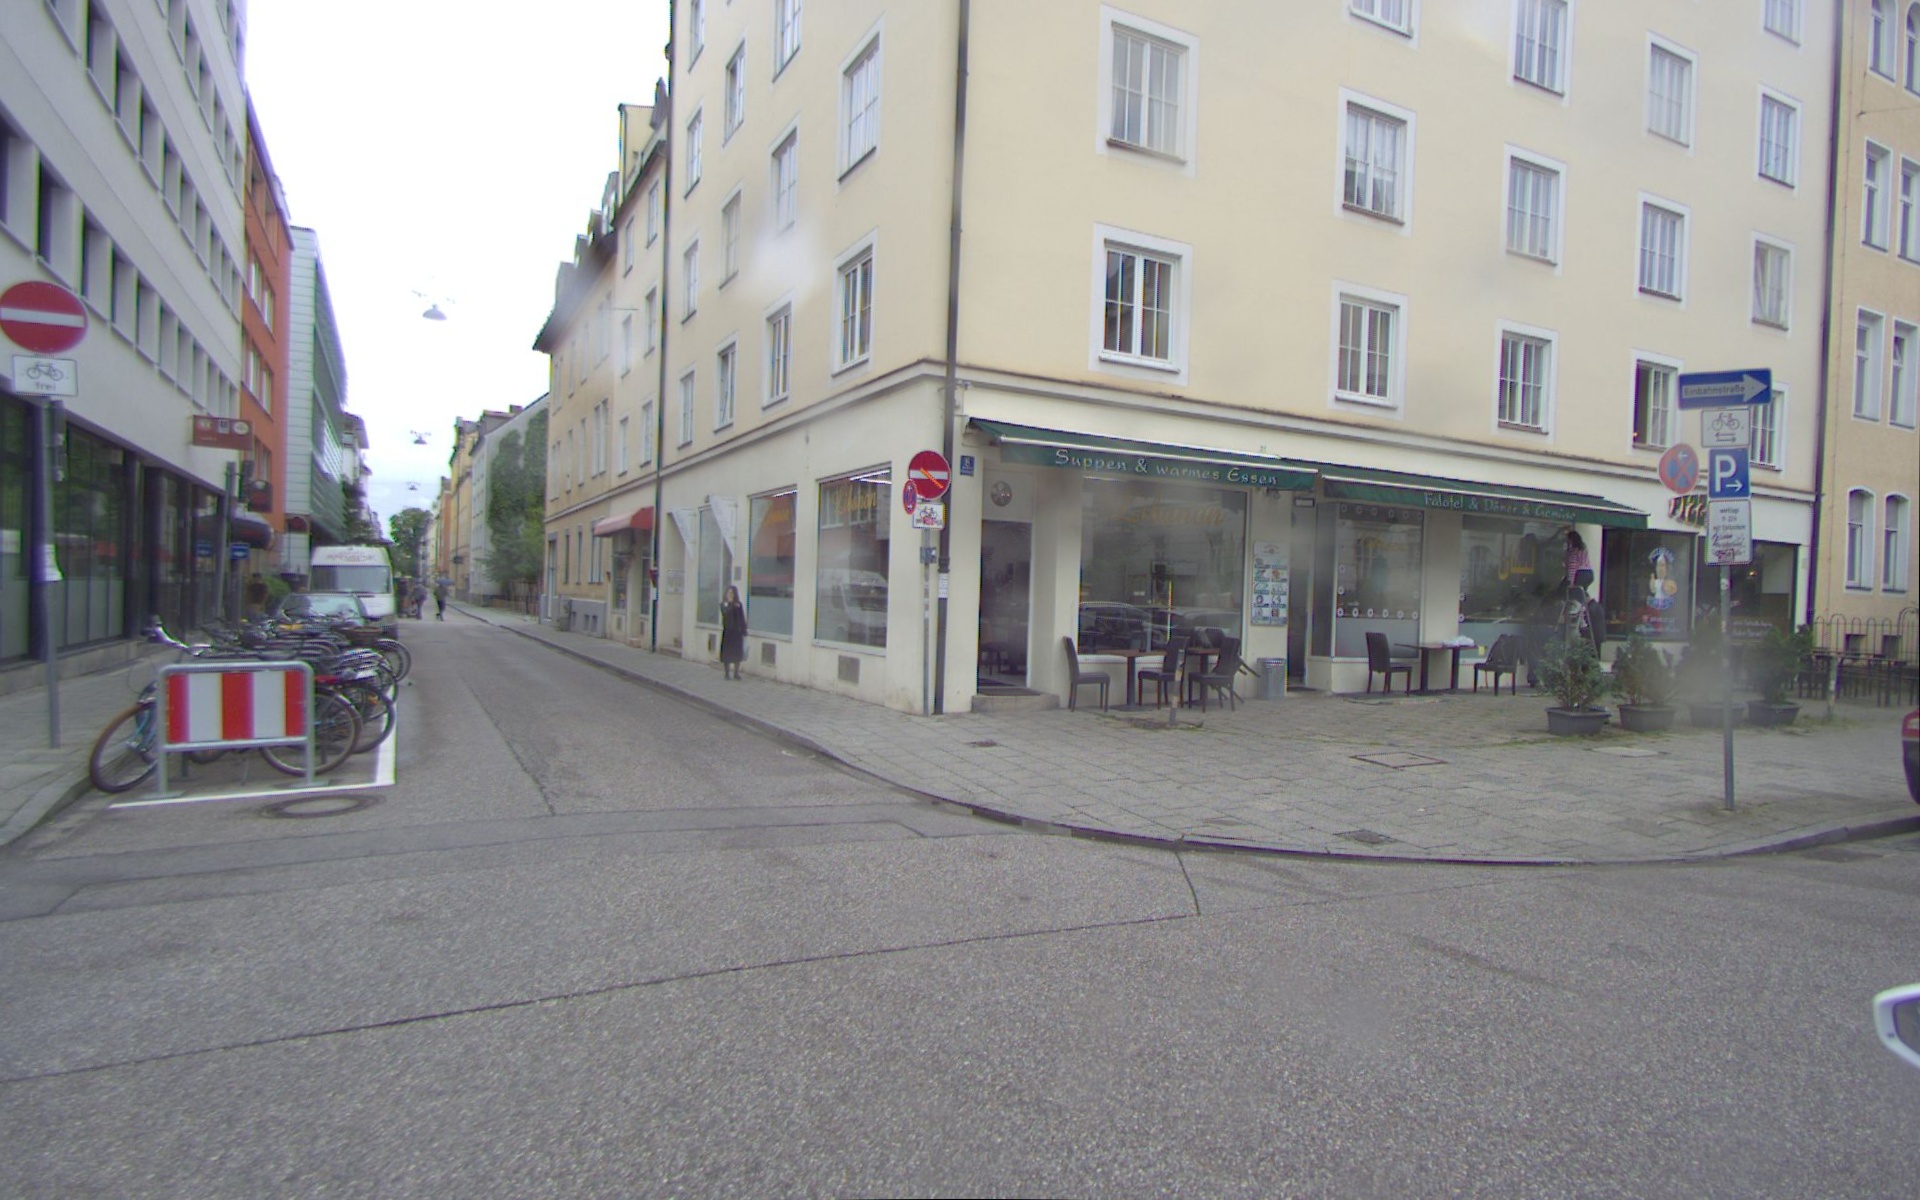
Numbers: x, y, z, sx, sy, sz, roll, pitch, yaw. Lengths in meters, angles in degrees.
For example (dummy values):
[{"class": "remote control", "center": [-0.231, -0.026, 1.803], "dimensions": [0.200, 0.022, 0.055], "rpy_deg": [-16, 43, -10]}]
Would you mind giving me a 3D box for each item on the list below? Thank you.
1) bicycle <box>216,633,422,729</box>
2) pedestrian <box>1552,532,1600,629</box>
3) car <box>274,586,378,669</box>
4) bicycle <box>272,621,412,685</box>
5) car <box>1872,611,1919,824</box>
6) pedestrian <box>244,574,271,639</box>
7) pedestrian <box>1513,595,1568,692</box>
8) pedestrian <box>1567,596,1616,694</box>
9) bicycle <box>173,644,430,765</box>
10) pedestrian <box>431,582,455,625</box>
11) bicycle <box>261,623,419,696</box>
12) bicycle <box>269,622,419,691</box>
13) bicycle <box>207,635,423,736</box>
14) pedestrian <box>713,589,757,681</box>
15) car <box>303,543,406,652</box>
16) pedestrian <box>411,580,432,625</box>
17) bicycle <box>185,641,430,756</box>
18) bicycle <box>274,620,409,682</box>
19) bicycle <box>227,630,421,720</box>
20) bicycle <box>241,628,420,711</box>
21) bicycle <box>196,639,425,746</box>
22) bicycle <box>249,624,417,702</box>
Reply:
[{"class": "bicycle", "center": [-7.043, 0.874, 11.127], "dimensions": [1.873, 0.981, 0.395], "rpy_deg": [2, 1, -32]}, {"class": "pedestrian", "center": [10.861, -0.338, 17.710], "dimensions": [0.490, 1.664, 0.476], "rpy_deg": [2, 1, -21]}, {"class": "car", "center": [-11.982, 0.483, 19.150], "dimensions": [1.473, 1.426, 3.662], "rpy_deg": [2, -1, -30]}, {"class": "bicycle", "center": [-9.918, 0.850, 16.184], "dimensions": [1.873, 0.981, 0.395], "rpy_deg": [2, 1, -32]}, {"class": "car", "center": [9.654, 0.985, 8.123], "dimensions": [4.688, 1.607, 1.845], "rpy_deg": [2, 0, -28]}, {"class": "pedestrian", "center": [-19.449, 0.179, 27.811], "dimensions": [0.516, 1.763, 0.489], "rpy_deg": [1, 0, -30]}, {"class": "pedestrian", "center": [10.185, 0.756, 17.635], "dimensions": [0.621, 1.664, 0.520], "rpy_deg": [2, 1, -26]}, {"class": "pedestrian", "center": [11.340, 0.803, 18.034], "dimensions": [0.567, 1.713, 0.460], "rpy_deg": [2, 1, -26]}, {"class": "bicycle", "center": [-5.837, 0.903, 9.015], "dimensions": [1.873, 0.981, 0.395], "rpy_deg": [2, 1, -32]}, {"class": "pedestrian", "center": [-24.681, 0.162, 47.988], "dimensions": [0.864, 2.040, 0.878], "rpy_deg": [2, 1, -35]}, {"class": "bicycle", "center": [-8.806, 0.840, 14.333], "dimensions": [1.873, 0.981, 0.395], "rpy_deg": [2, 1, -32]}, {"class": "bicycle", "center": [-9.233, 0.851, 15.123], "dimensions": [1.873, 0.981, 0.395], "rpy_deg": [2, 1, -32]}, {"class": "bicycle", "center": [-6.793, 0.887, 10.671], "dimensions": [1.873, 0.981, 0.395], "rpy_deg": [2, 1, -32]}, {"class": "pedestrian", "center": [-3.949, 0.608, 17.607], "dimensions": [0.630, 1.582, 0.605], "rpy_deg": [2, 1, -22]}, {"class": "car", "center": [-15.306, -0.106, 25.550], "dimensions": [1.942, 2.420, 6.431], "rpy_deg": [2, 0, -30]}, {"class": "pedestrian", "center": [-25.428, 0.117, 47.426], "dimensions": [0.712, 2.040, 0.878], "rpy_deg": [2, 1, -34]}, {"class": "bicycle", "center": [-6.054, 0.895, 9.425], "dimensions": [1.873, 0.981, 0.395], "rpy_deg": [2, 1, -32]}, {"class": "bicycle", "center": [-10.275, 0.845, 16.746], "dimensions": [1.873, 0.981, 0.395], "rpy_deg": [2, 1, -32]}, {"class": "bicycle", "center": [-7.403, 0.864, 11.785], "dimensions": [1.873, 0.981, 0.395], "rpy_deg": [2, 1, -32]}, {"class": "bicycle", "center": [-7.921, 0.864, 12.721], "dimensions": [1.873, 0.981, 0.395], "rpy_deg": [2, 1, -32]}, {"class": "bicycle", "center": [-6.434, 0.898, 10.048], "dimensions": [1.873, 0.981, 0.395], "rpy_deg": [2, 1, -32]}, {"class": "bicycle", "center": [-8.418, 0.840, 13.552], "dimensions": [1.873, 0.981, 0.395], "rpy_deg": [2, 1, -32]}]
